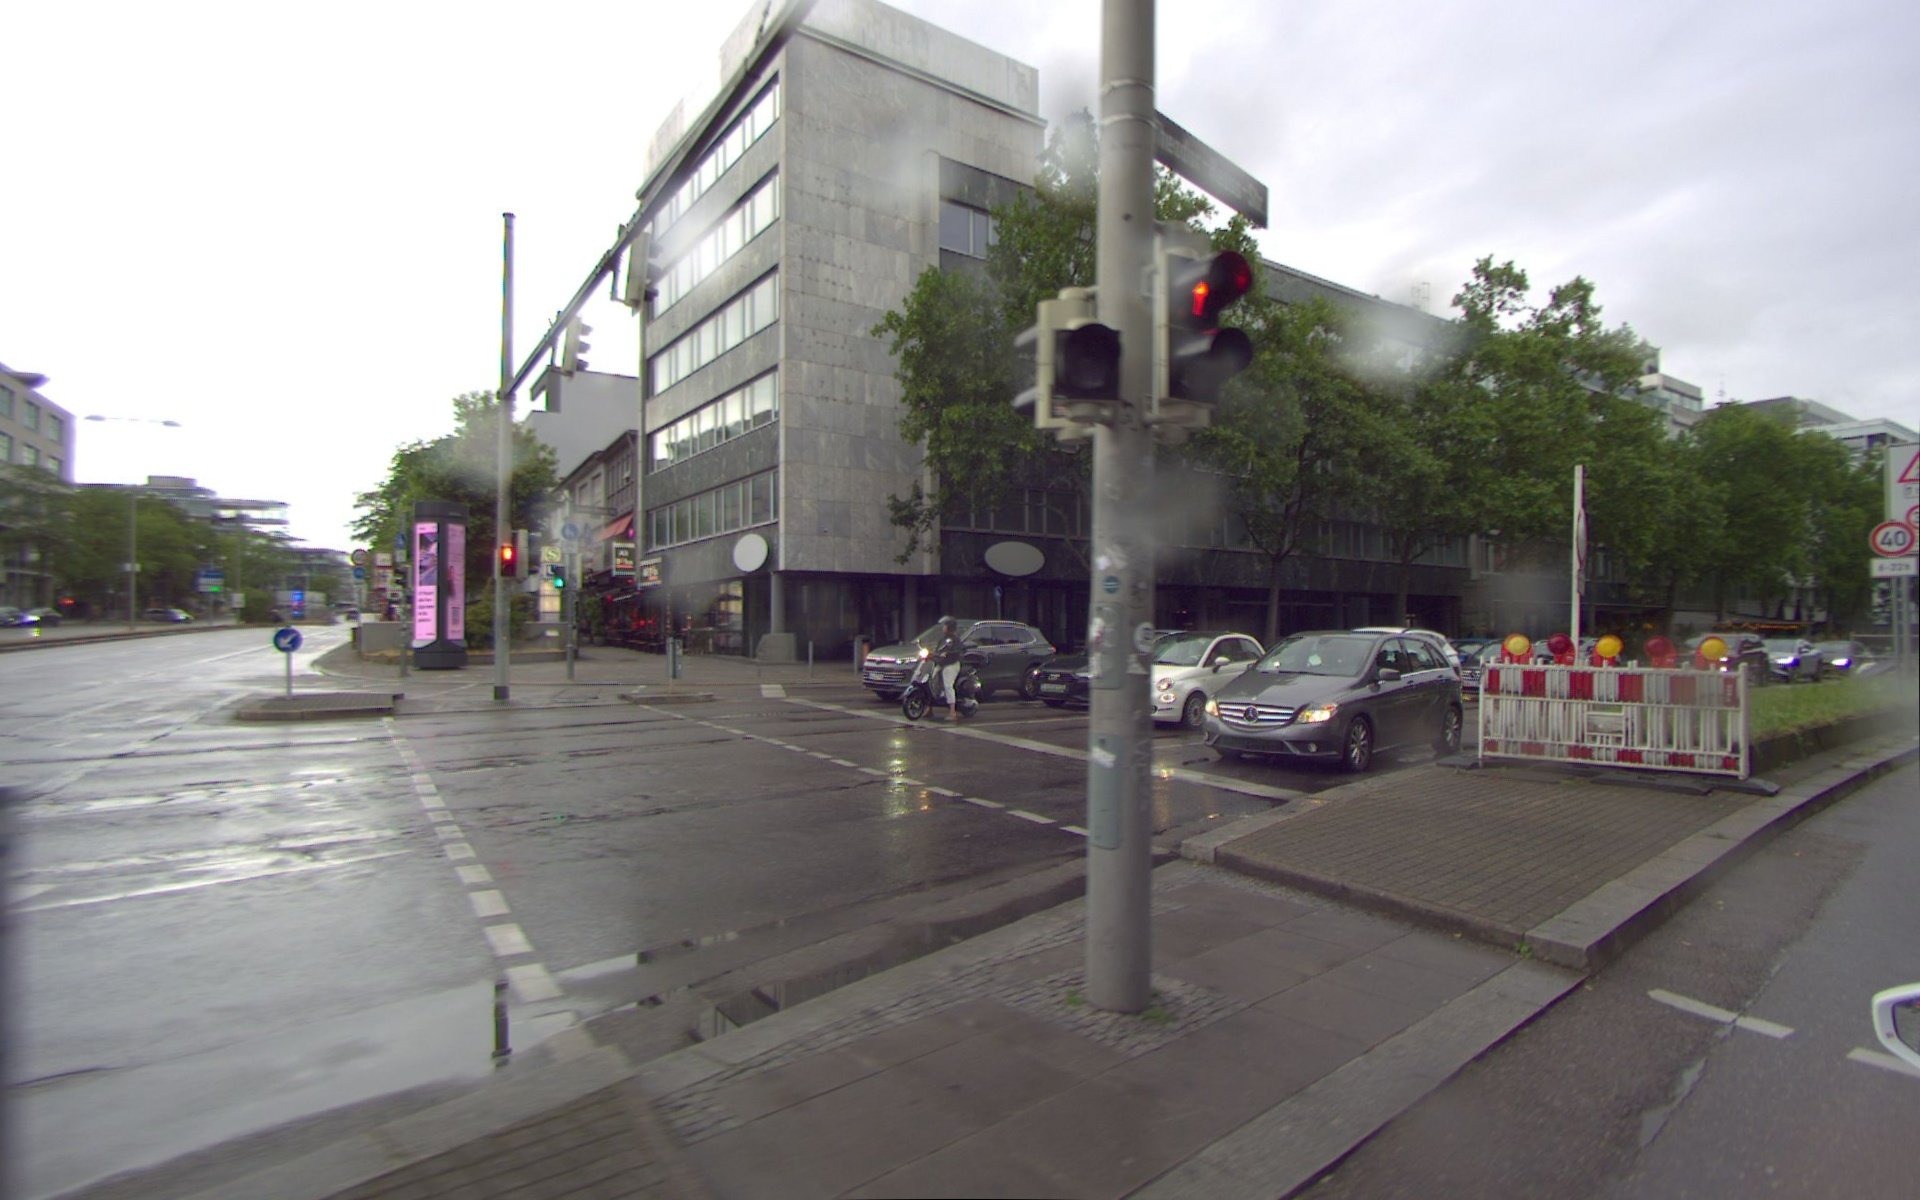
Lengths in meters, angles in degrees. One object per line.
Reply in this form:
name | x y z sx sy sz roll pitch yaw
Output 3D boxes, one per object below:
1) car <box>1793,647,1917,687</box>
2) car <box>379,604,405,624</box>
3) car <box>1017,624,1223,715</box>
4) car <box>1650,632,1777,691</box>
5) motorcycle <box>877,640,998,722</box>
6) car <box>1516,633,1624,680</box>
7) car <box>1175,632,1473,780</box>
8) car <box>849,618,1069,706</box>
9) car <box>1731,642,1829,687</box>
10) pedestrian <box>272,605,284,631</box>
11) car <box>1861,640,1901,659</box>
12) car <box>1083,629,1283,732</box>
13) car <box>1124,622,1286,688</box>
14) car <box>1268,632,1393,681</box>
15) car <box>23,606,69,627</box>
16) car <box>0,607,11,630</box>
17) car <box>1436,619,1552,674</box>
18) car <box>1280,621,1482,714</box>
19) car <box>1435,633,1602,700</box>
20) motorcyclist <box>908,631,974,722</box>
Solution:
car | 36.910 2.733 41.445 4.471 1.573 1.912 1 -2 -19
car | -52.146 1.245 92.260 1.976 1.773 3.968 2 -1 -30
car | 3.256 1.321 19.972 4.192 1.585 1.820 3 -2 -42
car | 25.064 1.986 33.345 5.056 1.790 1.824 1 -2 -34
motorcycle | -0.345 1.283 16.348 2.030 1.244 0.711 3 -2 -45
car | 21.121 1.911 34.720 4.528 1.511 1.707 2 -2 -38
car | 4.612 1.159 12.421 4.135 1.501 1.826 2 -2 -43
car | 0.075 1.256 21.157 4.625 1.639 1.742 2 -2 -41
car | 31.298 2.404 38.293 4.784 1.594 1.723 2 -2 -36
pedestrian | -52.973 1.406 78.016 0.607 2.040 0.689 1 -1 -24
car | 71.725 3.834 78.194 3.426 1.488 1.681 2 -2 -36
car | 3.735 1.239 16.539 1.699 1.495 3.410 -1 -2 44
car | 6.696 1.446 27.194 4.550 1.625 1.977 2 -2 -40
car | 11.627 1.741 31.436 3.945 1.405 1.977 2 -2 -40
car | -71.680 1.293 78.824 1.738 1.530 4.302 2 -1 -30
car | -66.622 1.260 68.479 1.738 1.530 4.302 2 -1 -30
car | 16.488 1.410 30.951 3.966 1.585 1.739 2 -2 -39
car | 8.756 1.308 20.695 4.759 1.707 1.862 2 -2 -40
car | 13.749 1.573 24.602 4.872 1.470 1.830 2 -2 -38
motorcyclist | -0.306 1.219 16.376 0.728 1.409 0.779 1 -1 -44
